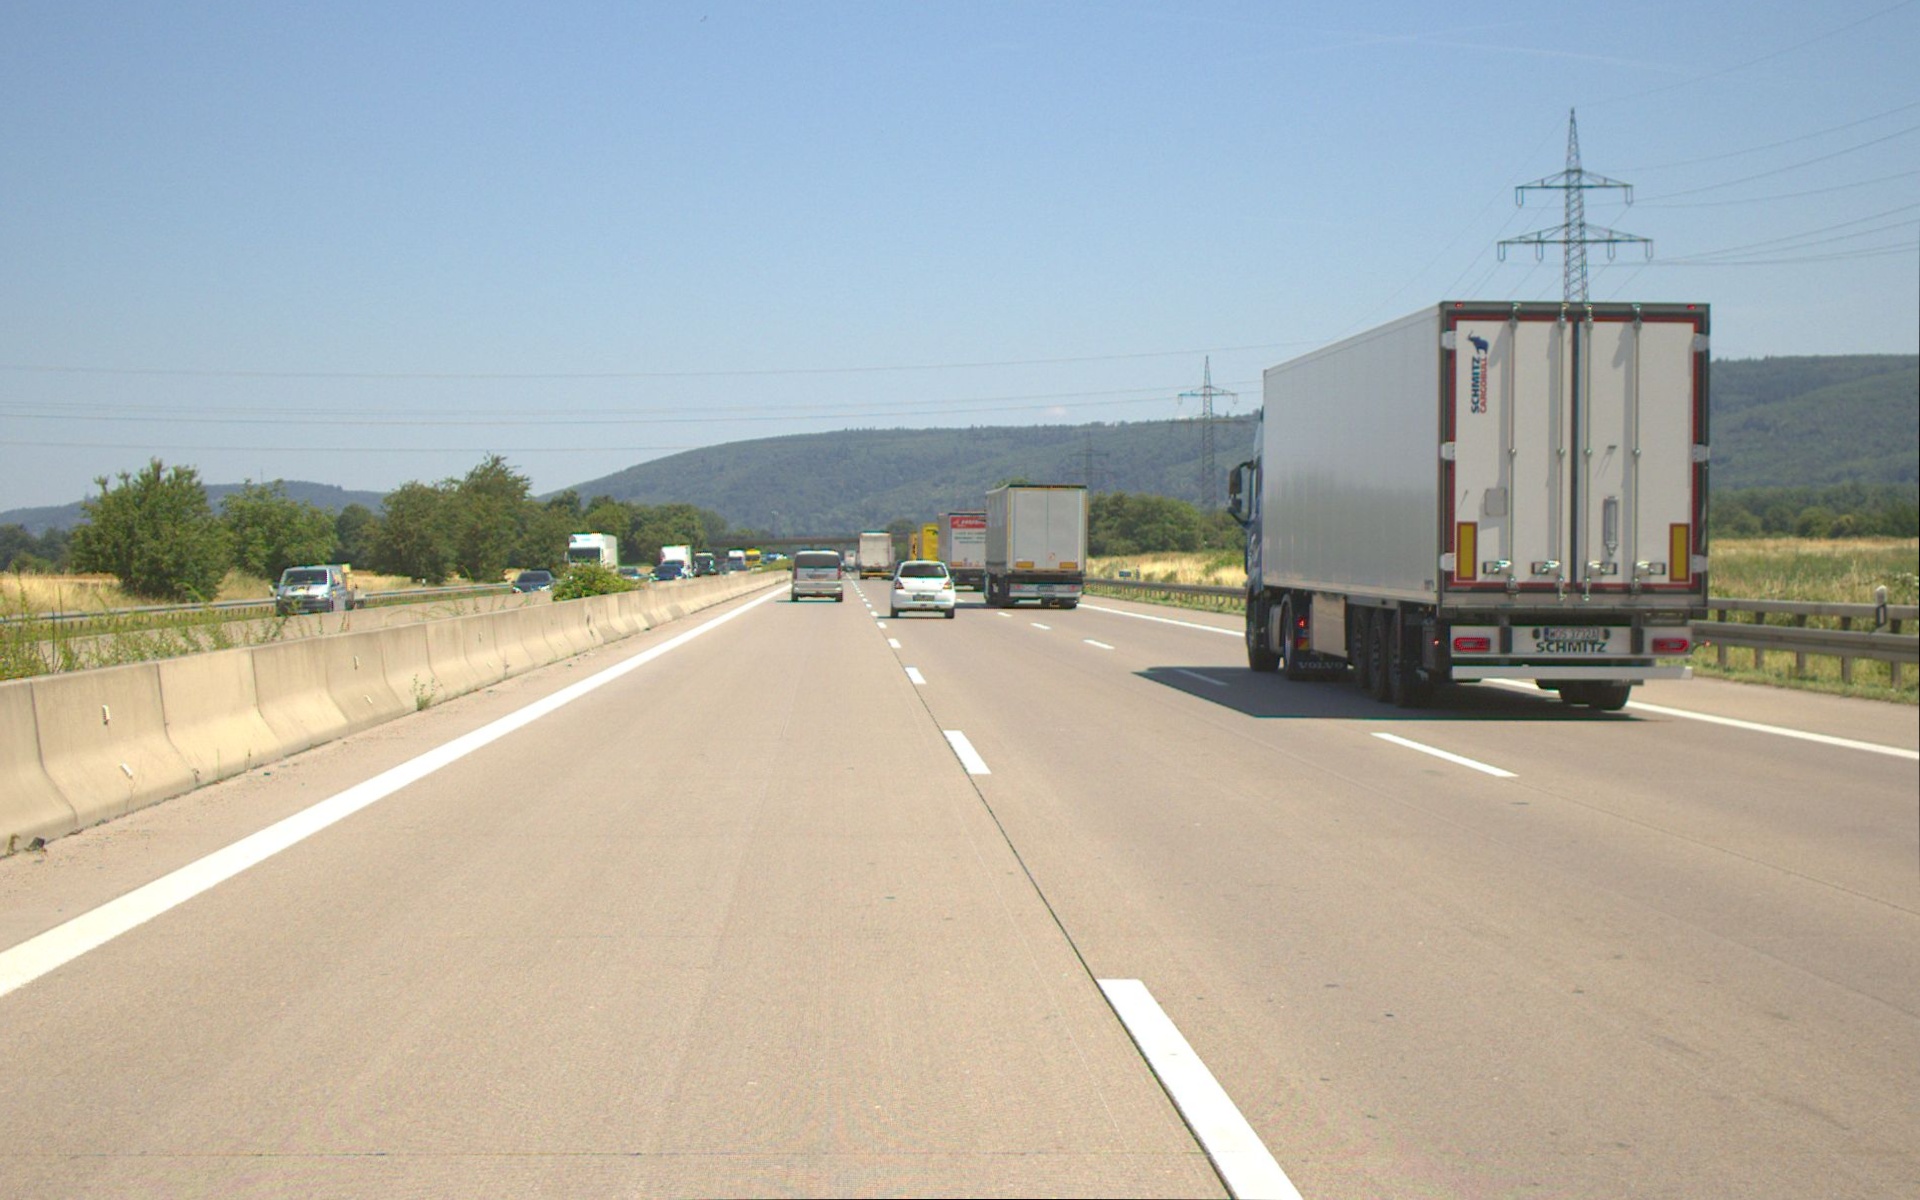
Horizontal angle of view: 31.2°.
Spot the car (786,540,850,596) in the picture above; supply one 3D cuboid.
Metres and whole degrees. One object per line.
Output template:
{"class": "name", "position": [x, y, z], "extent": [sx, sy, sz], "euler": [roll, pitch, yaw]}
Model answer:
{"class": "car", "position": [-5.263, -1.198, 127.554], "extent": [2.254, 2.007, 4.298], "euler": [1, 1, -1]}

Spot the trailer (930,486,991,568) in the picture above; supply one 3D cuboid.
{"class": "trailer", "position": [-0.054, -3.784, 179.839], "extent": [2.873, 4.086, 13.514], "euler": [1, 1, -1]}

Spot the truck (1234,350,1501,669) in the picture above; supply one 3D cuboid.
{"class": "truck", "position": [5.411, -1.194, 46.539], "extent": [2.750, 4.030, 5.466], "euler": [1, 1, -2]}

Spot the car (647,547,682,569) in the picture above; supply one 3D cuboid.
{"class": "car", "position": [-17.328, -2.463, 201.582], "extent": [1.771, 1.236, 4.677], "euler": [1, 1, -2]}

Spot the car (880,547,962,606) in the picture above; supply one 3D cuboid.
{"class": "car", "position": [-1.044, -0.640, 91.923], "extent": [2.107, 1.530, 4.122], "euler": [1, 1, -1]}

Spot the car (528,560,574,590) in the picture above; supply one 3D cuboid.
{"class": "car", "position": [-19.082, -1.189, 160.504], "extent": [1.712, 1.355, 5.044], "euler": [1, 1, -3]}

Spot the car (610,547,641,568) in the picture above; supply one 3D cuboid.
{"class": "car", "position": [-22.059, -2.801, 226.543], "extent": [1.735, 1.368, 4.907], "euler": [1, 1, -2]}

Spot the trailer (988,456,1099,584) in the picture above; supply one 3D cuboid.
{"class": "trailer", "position": [2.710, -2.653, 116.440], "extent": [3.018, 4.047, 14.208], "euler": [1, 1, -1]}

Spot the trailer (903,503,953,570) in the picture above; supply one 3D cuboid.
{"class": "trailer", "position": [-2.282, -4.457, 241.653], "extent": [3.216, 4.548, 13.458], "euler": [1, 1, -2]}

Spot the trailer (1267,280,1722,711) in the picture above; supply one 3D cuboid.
{"class": "trailer", "position": [5.626, -1.082, 38.911], "extent": [2.708, 4.030, 12.903], "euler": [1, 1, -2]}

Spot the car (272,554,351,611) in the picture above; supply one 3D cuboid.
{"class": "car", "position": [-22.656, -0.639, 120.219], "extent": [1.865, 1.937, 5.566], "euler": [1, 1, -2]}

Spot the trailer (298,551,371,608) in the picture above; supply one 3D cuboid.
{"class": "trailer", "position": [-22.801, -0.772, 125.500], "extent": [1.809, 2.035, 5.614], "euler": [1, 1, -2]}
